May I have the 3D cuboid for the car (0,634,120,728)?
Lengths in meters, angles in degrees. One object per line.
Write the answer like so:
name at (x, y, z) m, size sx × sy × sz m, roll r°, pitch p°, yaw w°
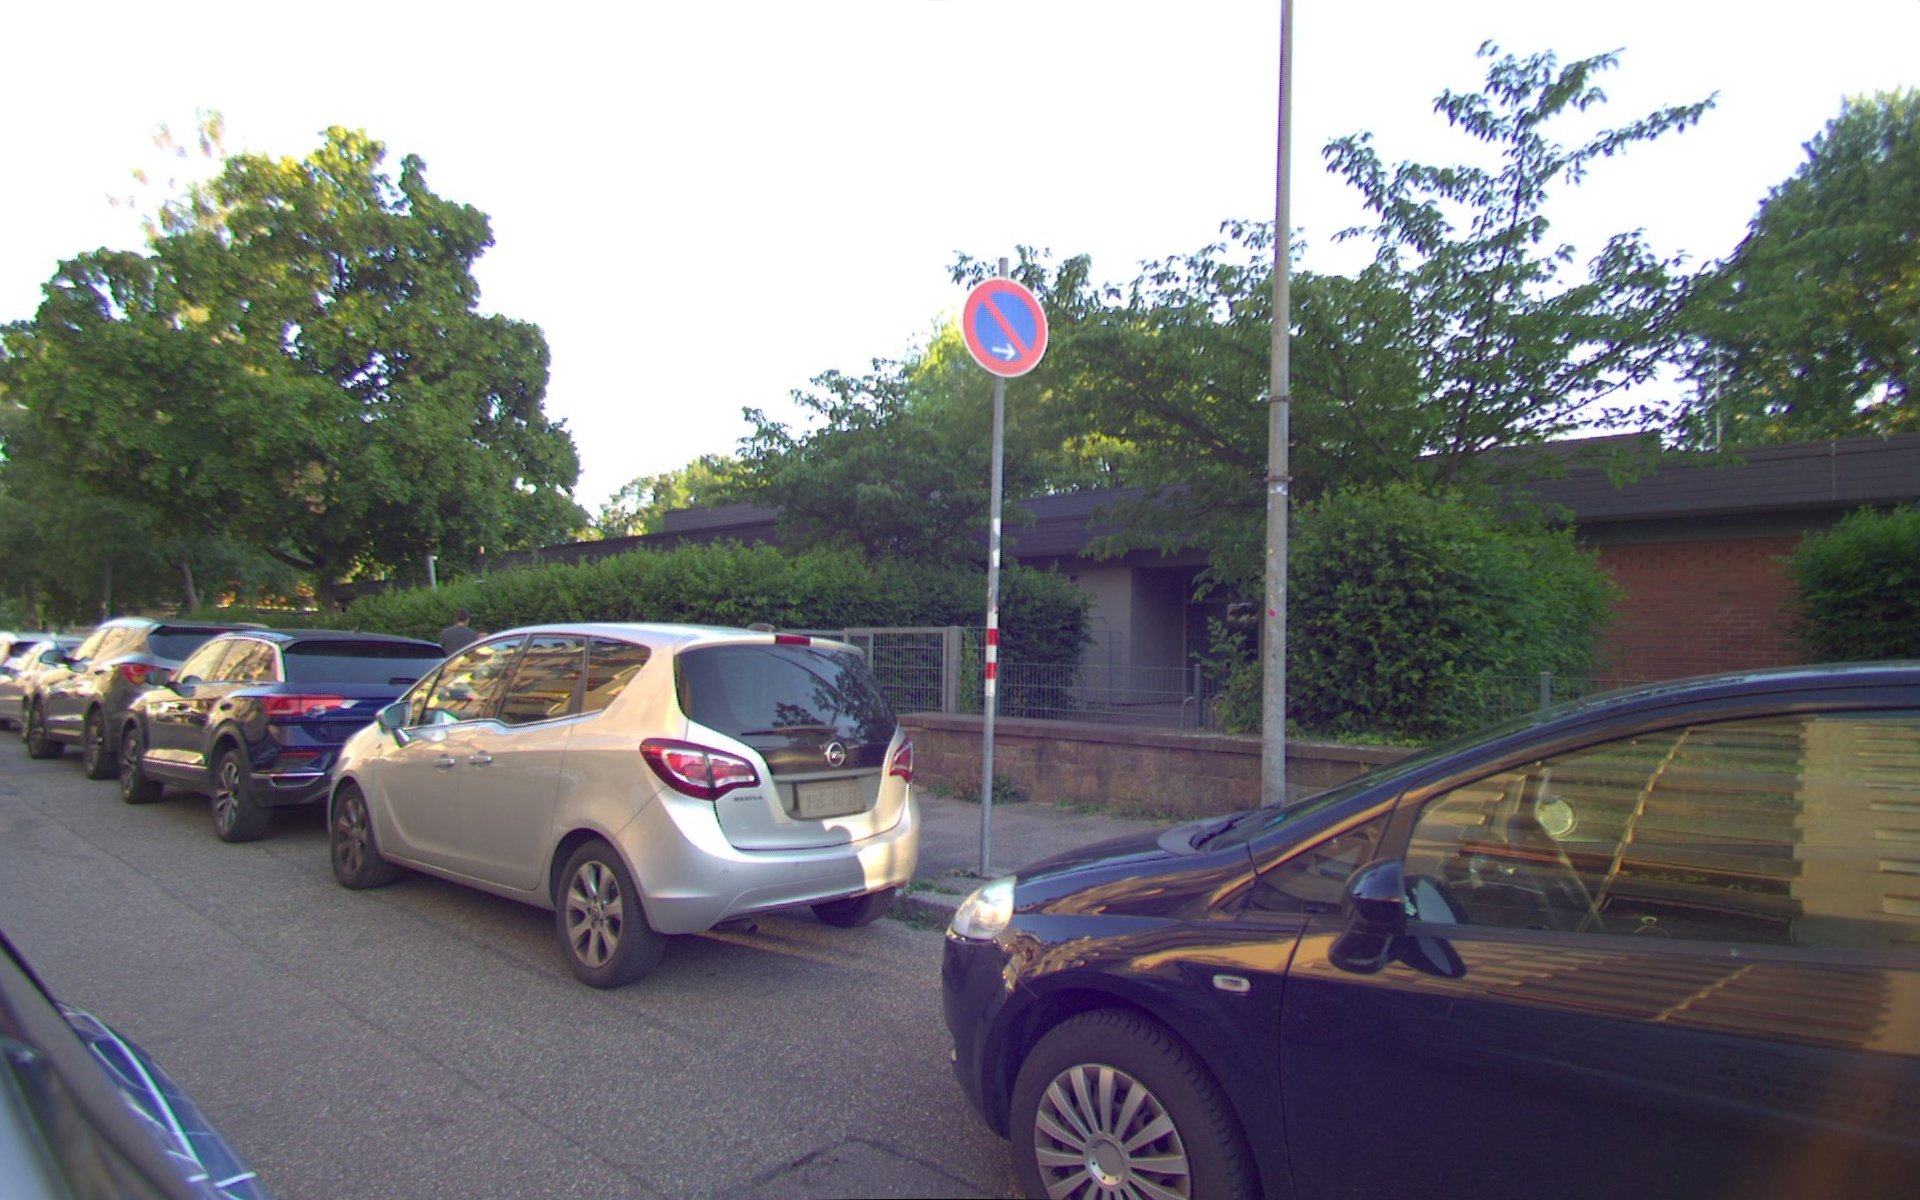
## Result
car at (-17.307, 1.456, 18.709) m, size 4.273 × 1.555 × 1.742 m, roll -2°, pitch -5°, yaw 37°

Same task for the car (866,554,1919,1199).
car at (1.748, 0.785, 2.160) m, size 3.691 × 1.579 × 1.717 m, roll -2°, pitch -5°, yaw 37°

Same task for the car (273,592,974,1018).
car at (-2.085, 0.877, 5.742) m, size 4.123 × 1.579 × 1.717 m, roll -2°, pitch -5°, yaw 37°

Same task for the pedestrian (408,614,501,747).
pedestrian at (-6.961, 1.077, 13.951) m, size 0.749 × 1.745 × 0.890 m, roll -2°, pitch -1°, yaw 39°

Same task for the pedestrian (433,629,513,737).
pedestrian at (-7.250, 1.214, 15.061) m, size 0.901 × 1.519 × 0.741 m, roll -2°, pitch -1°, yaw 38°

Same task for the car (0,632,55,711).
car at (-21.430, 1.547, 22.238) m, size 3.978 × 1.644 × 1.715 m, roll -3°, pitch -5°, yaw 41°

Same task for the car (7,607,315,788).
car at (-9.364, 1.055, 11.749) m, size 4.316 × 1.744 × 1.717 m, roll -2°, pitch -5°, yaw 37°

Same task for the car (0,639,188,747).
car at (-13.632, 1.368, 15.522) m, size 4.280 × 1.438 × 1.717 m, roll -2°, pitch -5°, yaw 37°

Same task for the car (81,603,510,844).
car at (-5.781, 0.926, 8.635) m, size 4.160 × 1.579 × 1.717 m, roll -2°, pitch -5°, yaw 37°

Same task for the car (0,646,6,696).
car at (-29.527, 2.052, 29.821) m, size 3.413 × 1.436 × 1.603 m, roll -2°, pitch -5°, yaw 40°
